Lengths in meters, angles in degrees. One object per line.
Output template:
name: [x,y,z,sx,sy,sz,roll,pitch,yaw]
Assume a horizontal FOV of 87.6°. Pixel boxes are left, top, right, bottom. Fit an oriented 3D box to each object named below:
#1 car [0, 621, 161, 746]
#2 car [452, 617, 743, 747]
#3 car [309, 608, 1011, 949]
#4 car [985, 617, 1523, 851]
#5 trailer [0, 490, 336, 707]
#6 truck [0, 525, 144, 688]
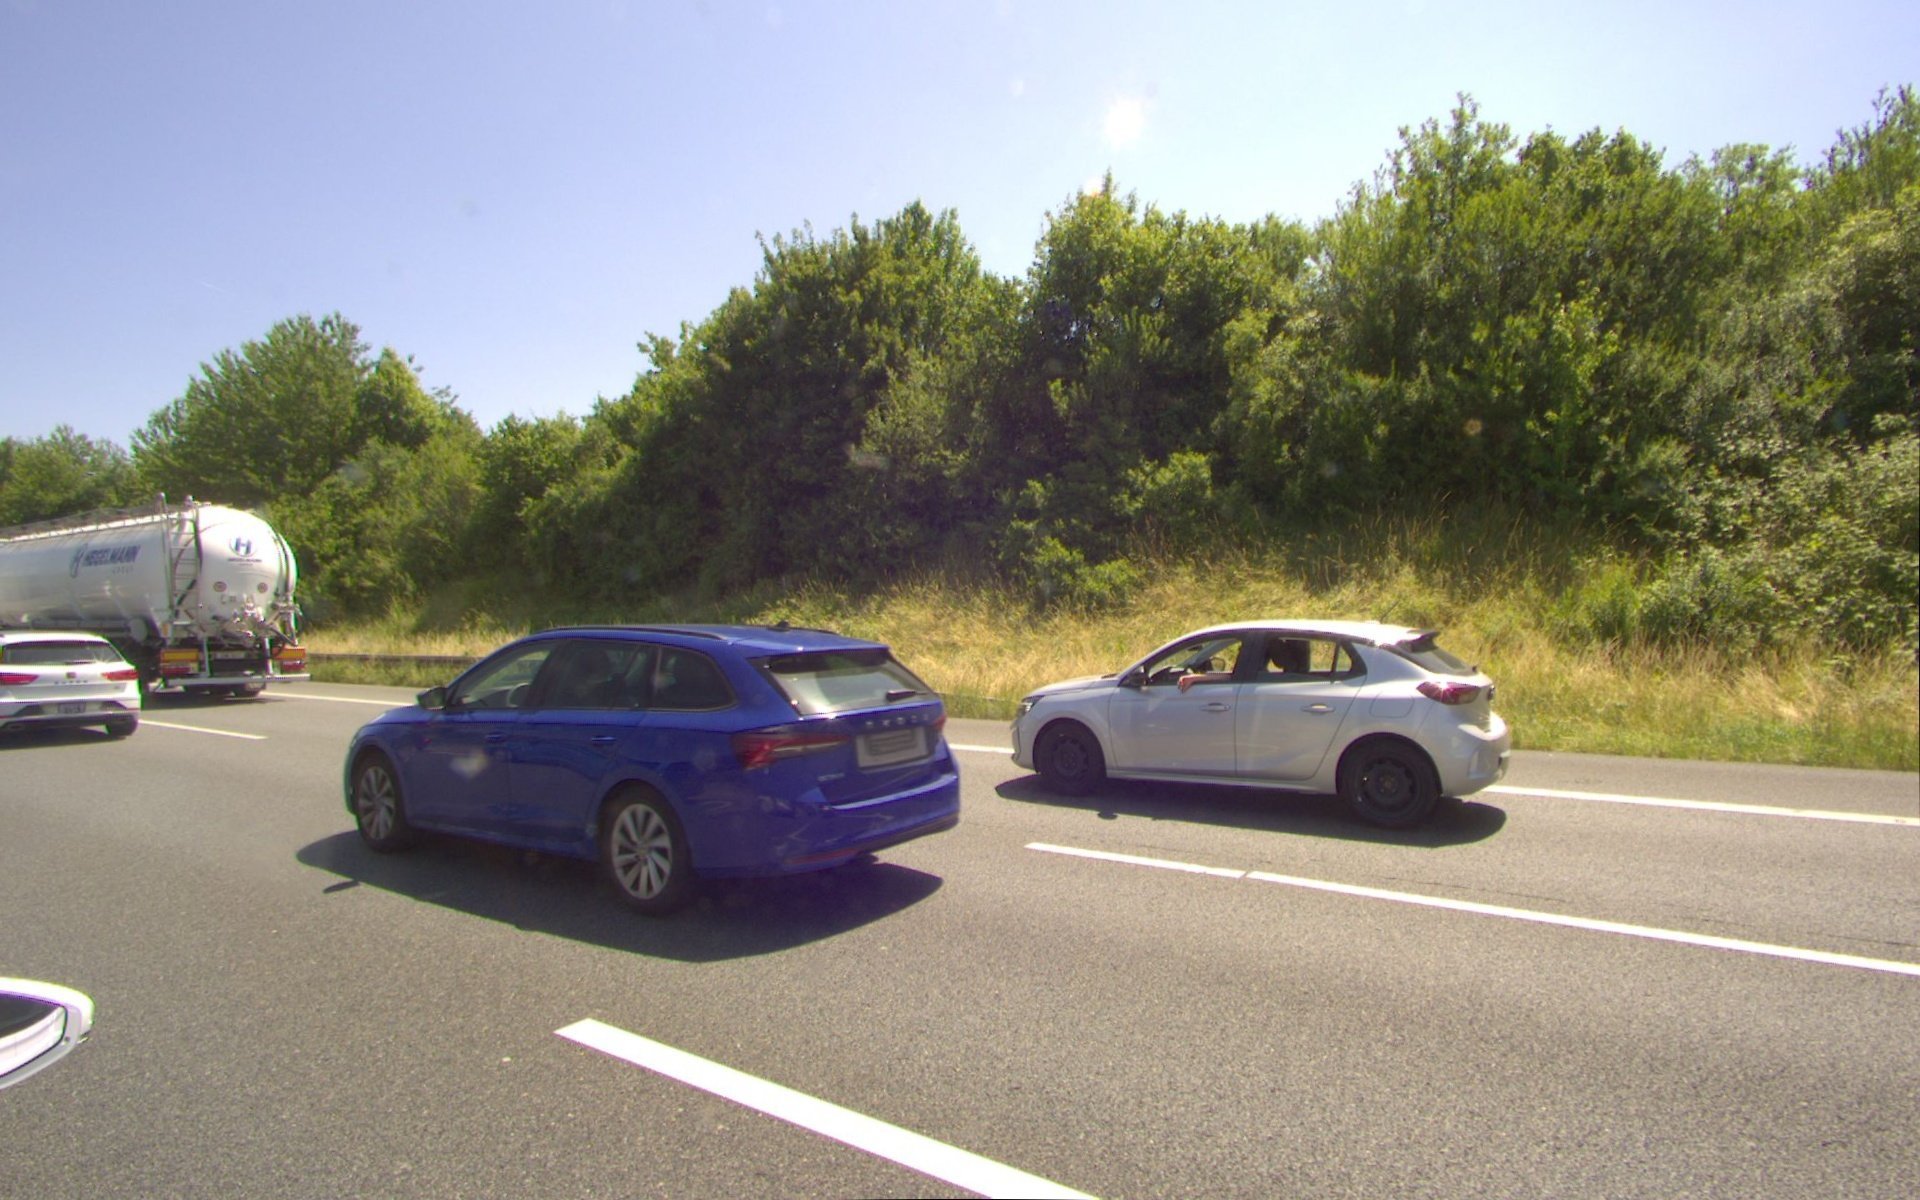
car: [-12.819,1.072,13.742,4.256,1.462,1.742,-2,0,35]
car: [-4.877,1.012,13.298,3.936,1.435,1.636,-2,0,35]
car: [-2.076,0.846,6.342,4.510,1.435,1.771,-2,0,34]
car: [2.338,0.899,8.312,3.972,1.462,1.726,0,0,34]
trailer: [-18.158,0.058,22.327,11.327,3.896,2.754,-1,0,34]
truck: [-24.469,0.194,26.595,5.495,3.887,2.786,-1,0,34]
